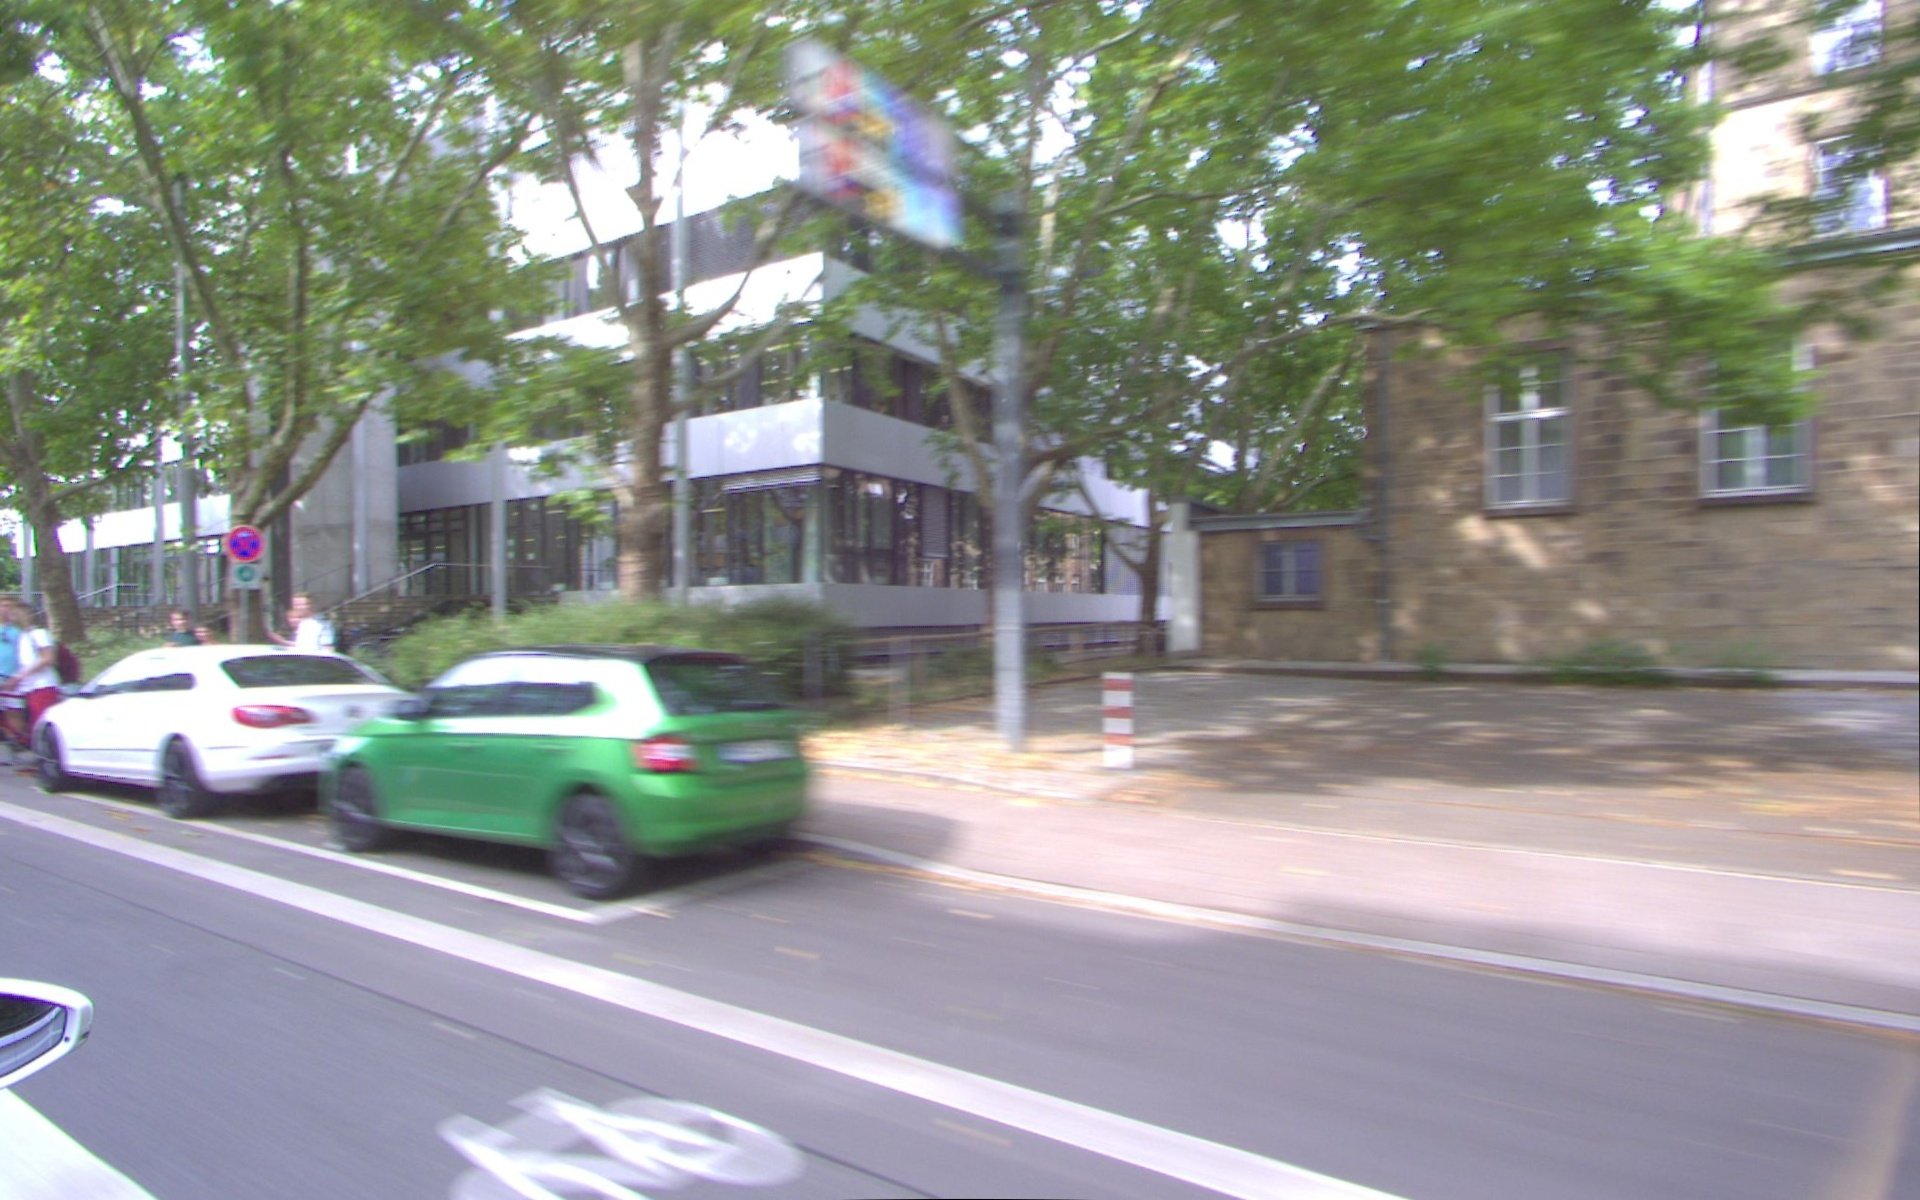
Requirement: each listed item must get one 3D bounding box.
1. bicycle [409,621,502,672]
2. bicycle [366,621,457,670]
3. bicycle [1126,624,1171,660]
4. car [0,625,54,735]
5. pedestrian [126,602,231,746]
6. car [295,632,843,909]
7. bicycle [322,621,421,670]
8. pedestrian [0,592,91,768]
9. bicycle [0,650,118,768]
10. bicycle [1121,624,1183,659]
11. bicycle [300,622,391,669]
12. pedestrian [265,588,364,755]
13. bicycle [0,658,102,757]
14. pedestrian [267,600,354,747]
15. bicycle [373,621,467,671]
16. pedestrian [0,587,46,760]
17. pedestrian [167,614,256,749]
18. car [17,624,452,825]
[{"bbox_3d":[-12.010,1.077,23.885,0.664,1.132,1.911,0,0,32],"label":"bicycle"},{"bbox_3d":[-13.713,1.121,25.085,0.664,1.132,1.911,0,0,32],"label":"bicycle"},{"bbox_3d":[4.980,1.095,26.393,0.502,0.889,1.614,-3,-2,37],"label":"bicycle"},{"bbox_3d":[-14.968,1.129,14.733,3.608,1.521,1.526,-1,-2,33],"label":"car"},{"bbox_3d":[-10.389,0.961,13.320,0.769,1.840,0.869,0,-1,32],"label":"pedestrian"},{"bbox_3d":[-2.812,0.989,7.035,3.749,1.467,1.586,-1,-3,31],"label":"car"},{"bbox_3d":[-14.819,1.128,25.256,0.664,1.132,2.074,0,0,32],"label":"bicycle"},{"bbox_3d":[-10.121,0.865,11.019,0.731,1.869,0.521,0,-1,18],"label":"pedestrian"},{"bbox_3d":[-10.429,1.184,11.007,0.543,1.233,1.794,0,-2,15],"label":"bicycle"},{"bbox_3d":[5.239,1.141,27.418,1.606,0.889,0.475,-3,-2,39],"label":"bicycle"},{"bbox_3d":[-15.912,1.155,25.993,0.664,1.132,1.911,0,0,32],"label":"bicycle"},{"bbox_3d":[-8.137,0.880,12.628,0.739,2.023,0.792,0,-1,32],"label":"pedestrian"},{"bbox_3d":[-11.387,1.273,11.903,0.543,1.119,1.737,0,-2,21],"label":"bicycle"},{"bbox_3d":[-8.627,0.951,13.307,0.693,1.878,0.720,0,-1,32],"label":"pedestrian"},{"bbox_3d":[-13.051,1.091,24.243,0.664,1.132,1.911,0,0,32],"label":"bicycle"},{"bbox_3d":[-11.200,0.845,11.699,0.732,1.959,0.475,0,-1,22],"label":"pedestrian"},{"bbox_3d":[-9.699,1.029,12.978,0.645,1.679,0.720,0,-1,32],"label":"pedestrian"},{"bbox_3d":[-7.008,1.027,9.557,4.477,1.535,1.679,-1,-3,31],"label":"car"}]
